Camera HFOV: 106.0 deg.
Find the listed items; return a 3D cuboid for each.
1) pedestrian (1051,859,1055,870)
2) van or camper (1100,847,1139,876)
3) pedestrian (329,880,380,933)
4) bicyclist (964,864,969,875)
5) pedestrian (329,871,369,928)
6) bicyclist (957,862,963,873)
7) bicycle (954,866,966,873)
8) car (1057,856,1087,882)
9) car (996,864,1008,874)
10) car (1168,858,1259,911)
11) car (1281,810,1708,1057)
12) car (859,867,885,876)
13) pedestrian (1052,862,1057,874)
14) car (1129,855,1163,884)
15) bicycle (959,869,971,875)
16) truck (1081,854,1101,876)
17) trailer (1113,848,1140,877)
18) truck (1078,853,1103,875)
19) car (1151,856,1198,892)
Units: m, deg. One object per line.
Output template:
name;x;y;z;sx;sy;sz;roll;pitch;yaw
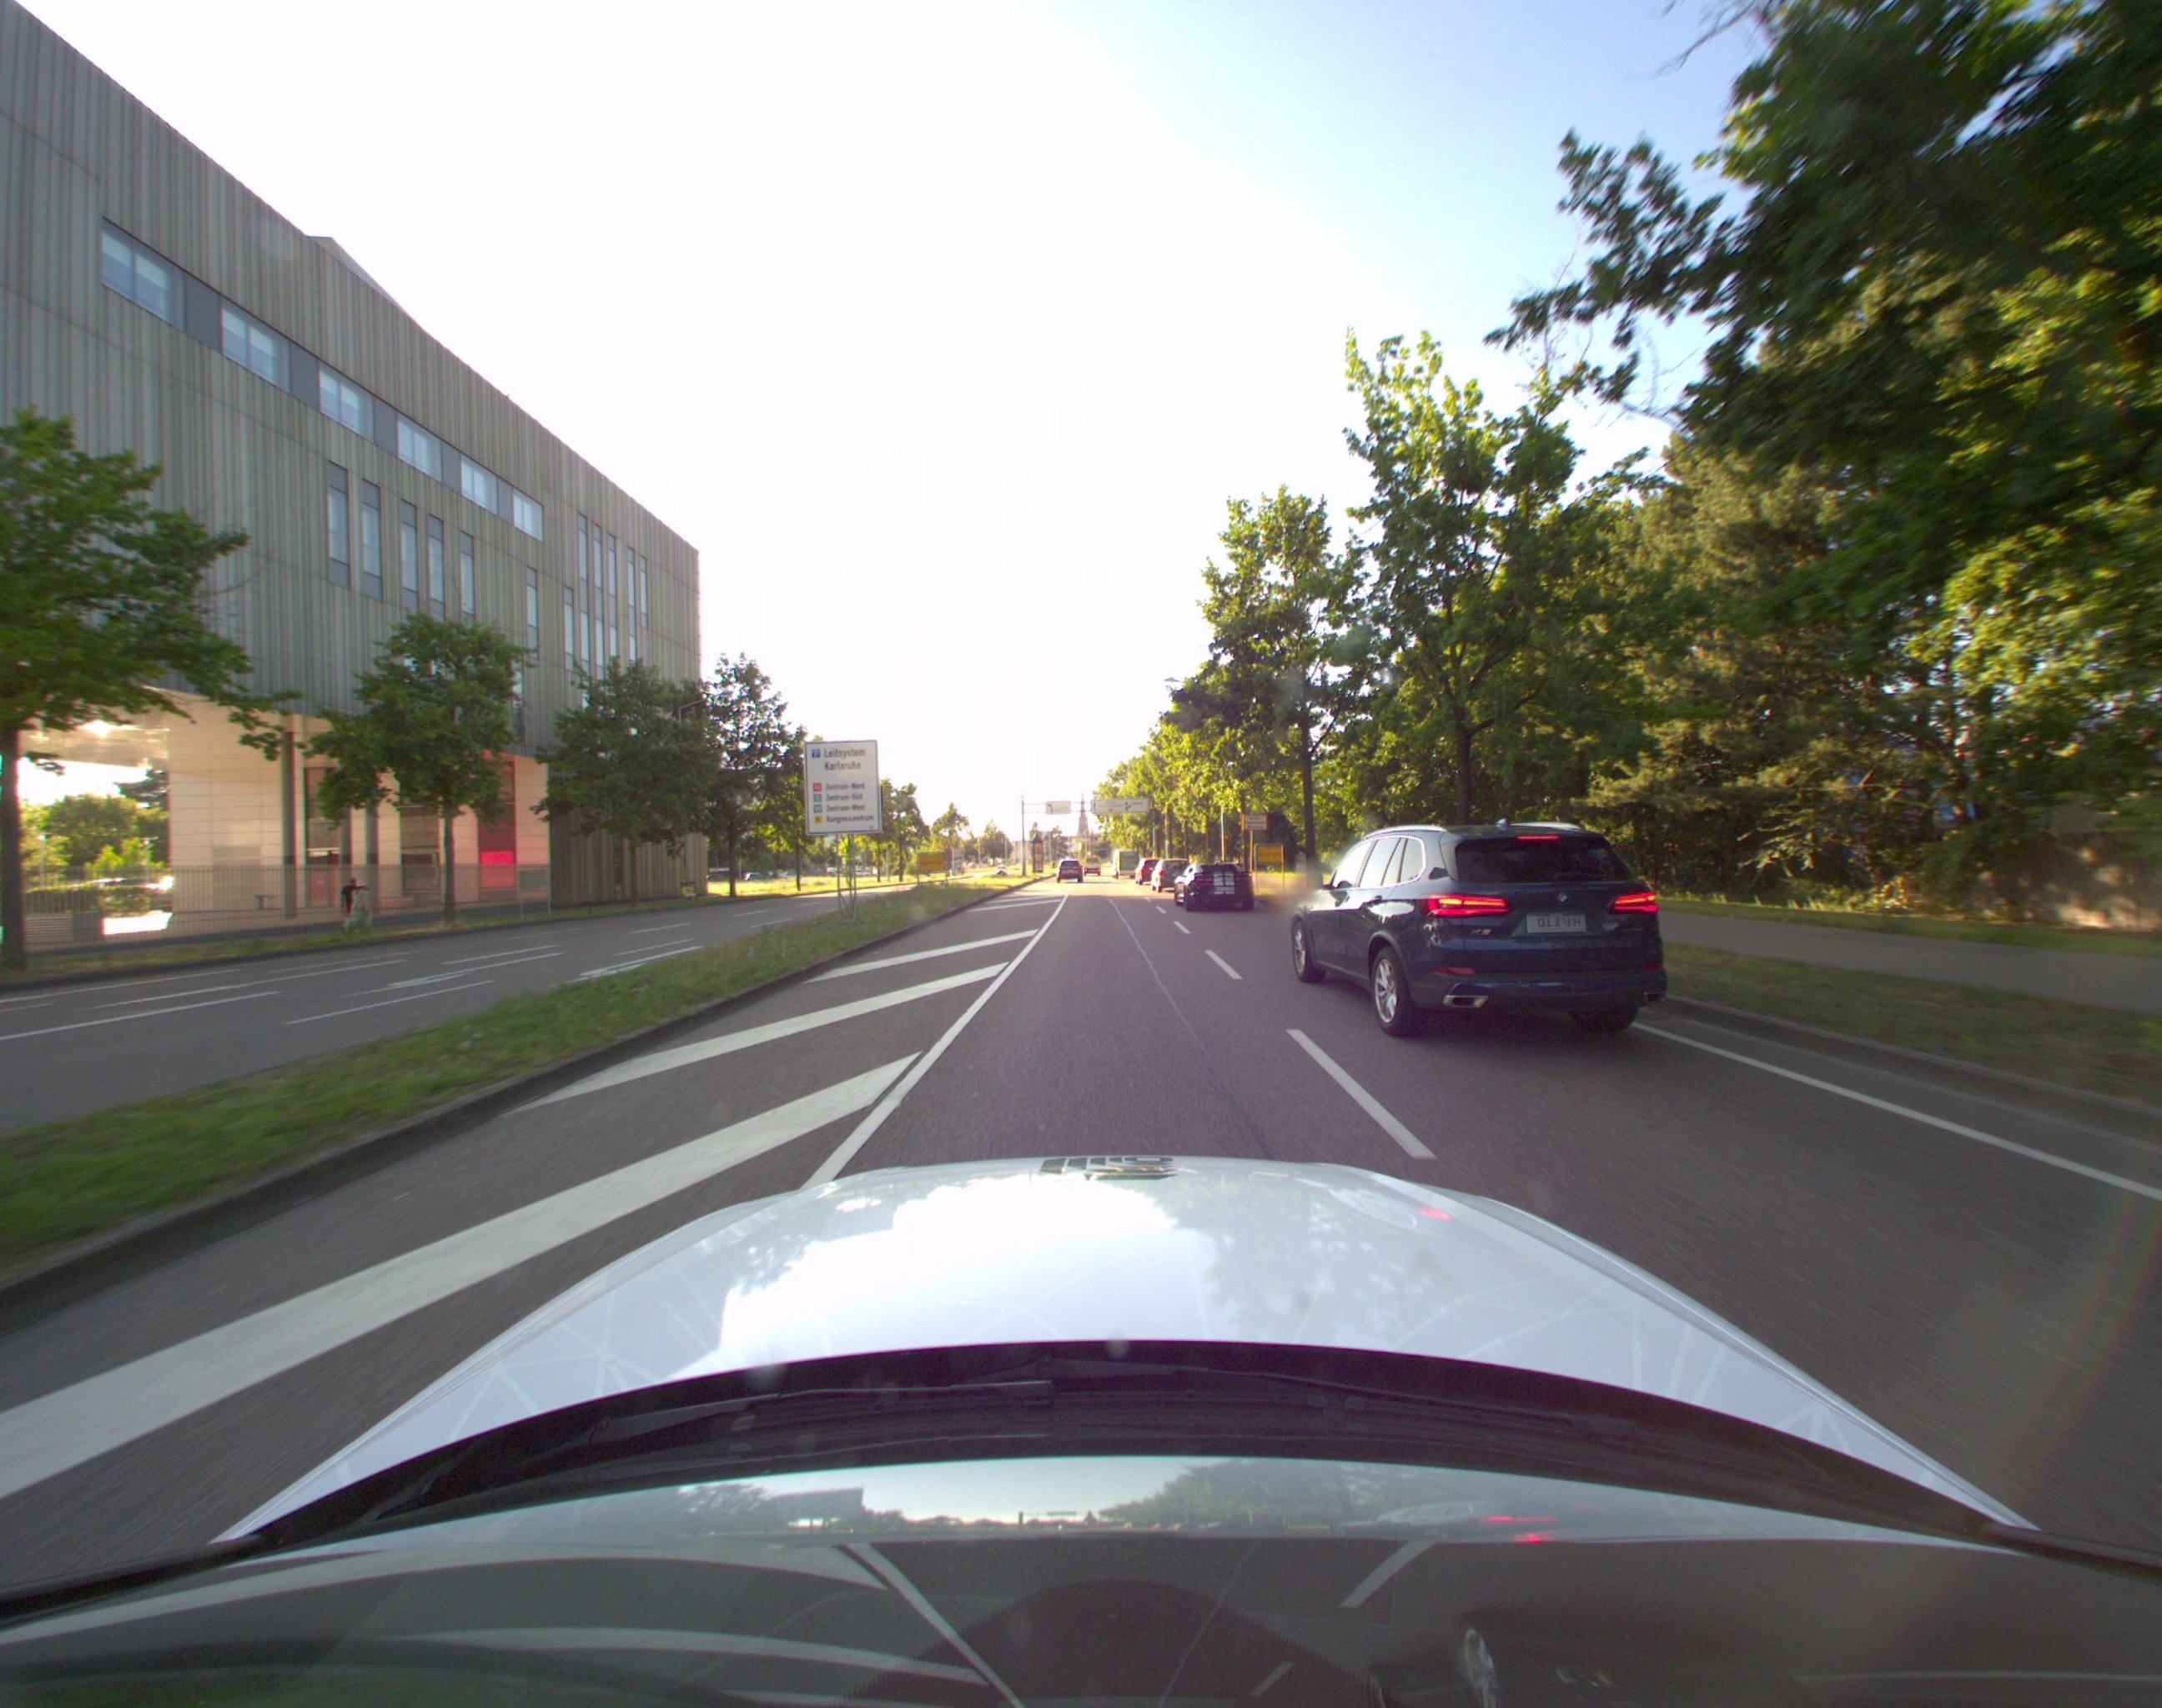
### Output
pedestrian;-4.693;1.756;136.418;0.483;1.844;0.720;-3;-2;6
van or camper;3.554;0.683;76.266;2.284;2.629;6.561;-1;0;-9
pedestrian;-23.216;1.656;26.048;0.773;1.601;0.909;-2;0;1
bicyclist;-19.673;2.671;139.987;0.808;1.789;0.497;-1;-1;8
pedestrian;-24.038;1.481;26.751;0.630;1.841;0.717;-2;0;1
bicyclist;-20.567;2.327;138.645;0.807;1.770;0.498;-1;-1;15
bicycle;-20.622;2.655;138.651;1.894;1.019;0.506;-2;0;15
car;-0.673;1.036;57.168;1.901;1.660;3.996;-2;-1;-3
car;-12.741;2.400;131.549;1.558;1.575;3.409;-2;-1;-3
car;3.771;0.820;23.914;1.849;1.338;4.623;-1;0;-1
car;3.504;0.594;8.128;1.948;1.727;4.700;-1;-1;1
car;-39.481;3.338;154.021;4.332;1.508;1.852;-2;0;-43
pedestrian;-4.433;2.291;136.499;0.788;2.013;0.700;-2;0;-6
car;3.903;0.905;49.206;1.742;1.621;3.819;0;1;0
bicycle;-19.956;3.054;140.010;1.898;1.020;0.505;-1;-1;7
truck;1.235;1.335;100.473;2.213;2.651;4.771;-2;0;-1
trailer;3.887;0.754;70.203;2.083;2.400;3.501;0;0;0
truck;1.152;1.212;101.134;2.575;2.558;6.243;-2;0;-4
car;4.176;0.859;36.818;1.741;1.473;3.820;-2;0;1
